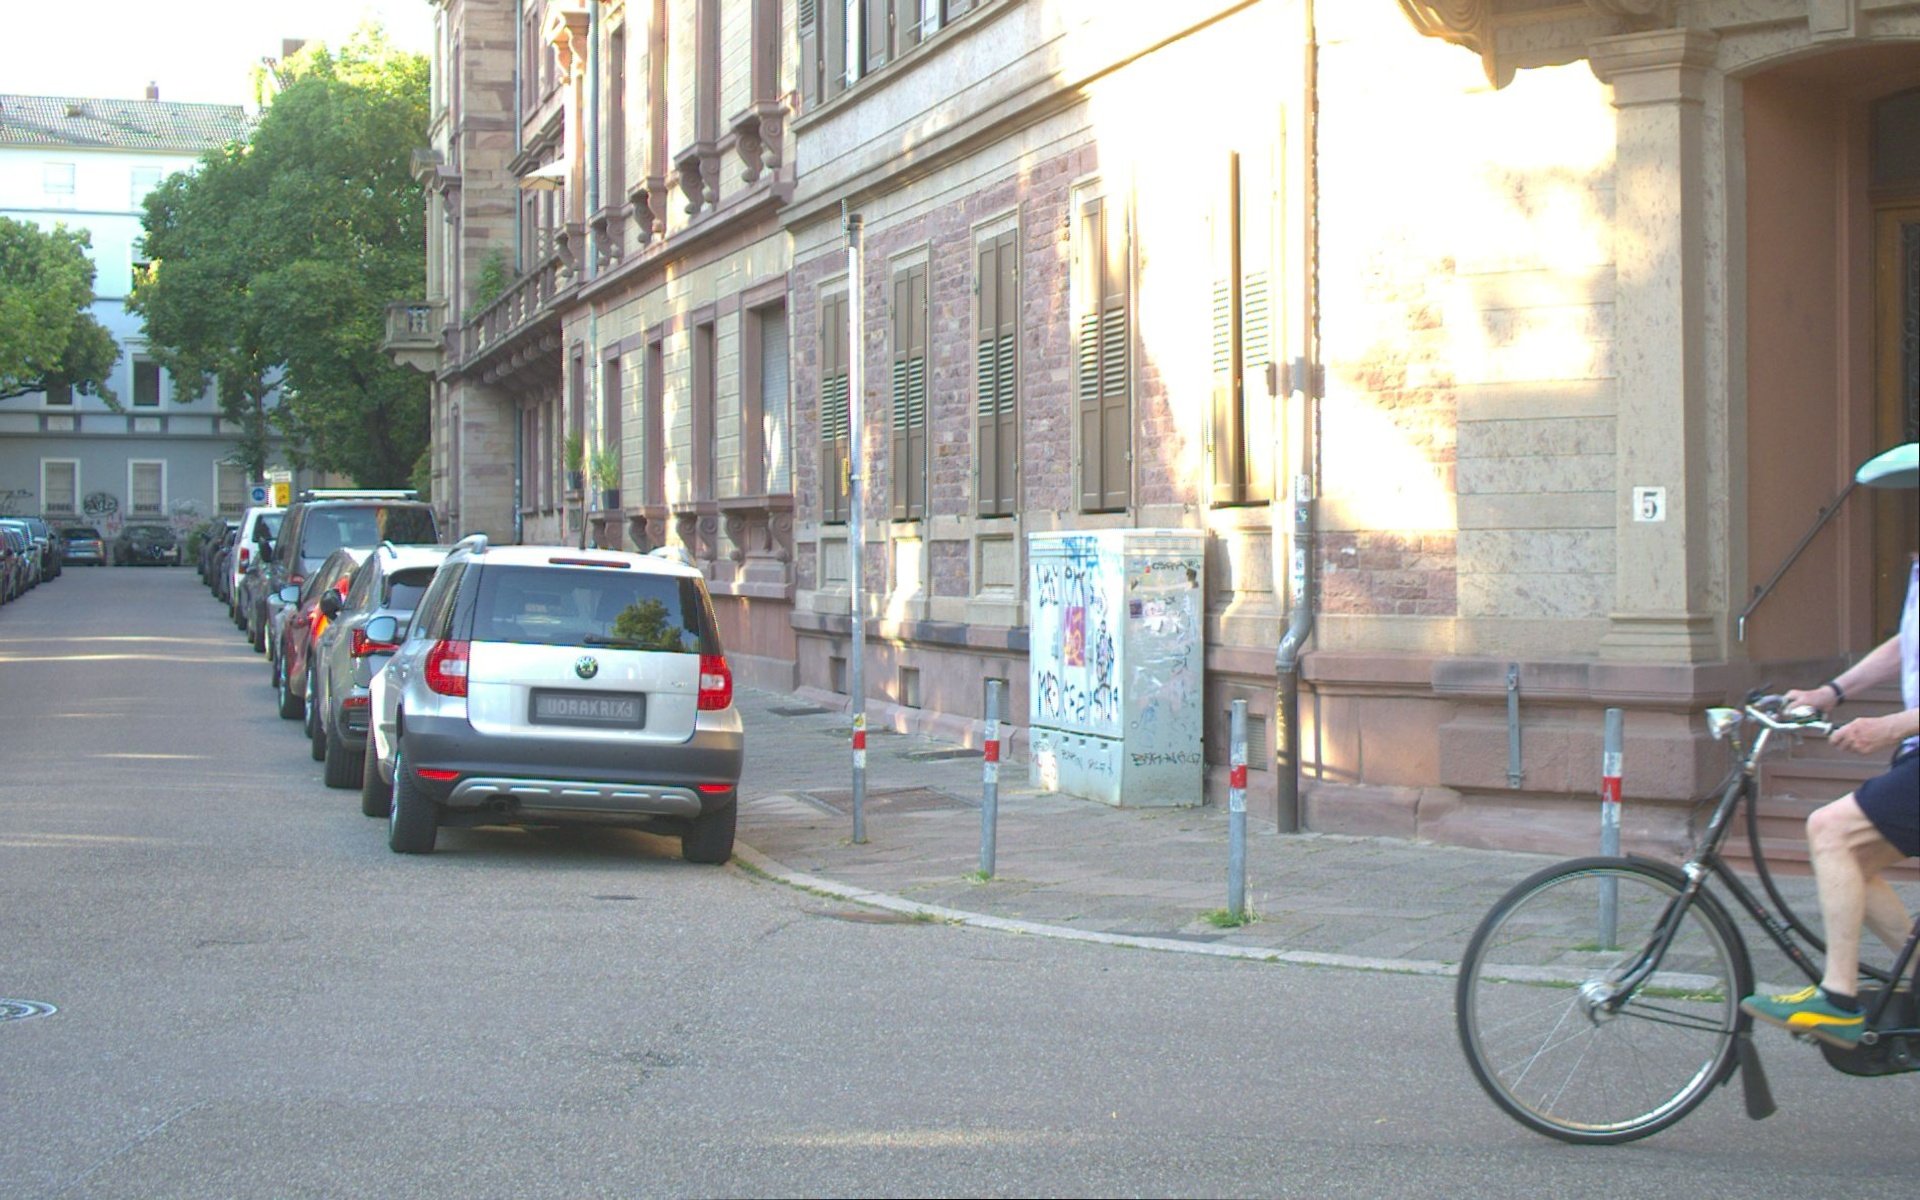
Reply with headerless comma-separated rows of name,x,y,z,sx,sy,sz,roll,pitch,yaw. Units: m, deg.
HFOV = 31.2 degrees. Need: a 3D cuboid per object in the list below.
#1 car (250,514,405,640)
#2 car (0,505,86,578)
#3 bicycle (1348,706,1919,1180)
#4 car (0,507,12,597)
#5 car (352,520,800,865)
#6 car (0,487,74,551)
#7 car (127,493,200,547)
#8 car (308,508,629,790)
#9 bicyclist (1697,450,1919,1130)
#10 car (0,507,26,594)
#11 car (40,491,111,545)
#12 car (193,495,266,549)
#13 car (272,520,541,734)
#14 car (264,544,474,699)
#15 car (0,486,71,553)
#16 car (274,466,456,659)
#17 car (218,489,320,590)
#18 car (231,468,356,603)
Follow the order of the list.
car,-8.480,-0.337,45.853,1.797,1.518,3.956,3,1,-13
car,-20.520,-1.321,76.592,1.825,1.495,3.932,3,1,-12
bicycle,2.036,0.817,8.398,2.117,1.050,0.700,0,1,10
car,-16.858,-0.847,57.201,1.825,1.495,3.932,3,1,-12
car,-2.273,0.433,19.293,1.915,1.651,4.188,3,0,-13
car,-23.584,-2.067,87.390,1.825,1.495,3.932,3,1,-12
car,-26.874,-2.668,115.904,1.993,1.678,4.001,1,-1,-18
car,-3.569,0.264,24.307,1.825,1.717,4.545,3,1,-12
bicyclist,2.253,0.435,8.353,0.872,1.583,0.700,0,1,10
car,-17.931,-0.952,61.997,1.825,1.495,3.932,3,1,-12
car,-29.594,-2.721,114.906,1.993,1.678,4.001,1,-1,-18
car,-24.870,-2.644,116.974,1.993,1.678,4.001,1,-1,-18
car,-4.806,0.178,29.434,1.797,1.608,3.956,3,1,-15
car,-5.961,0.174,34.340,1.797,1.340,3.956,3,1,-13
car,-22.365,-1.947,82.435,1.825,1.495,3.932,3,1,-12
car,-7.002,-0.465,40.171,1.797,2.065,3.956,3,1,-13
car,-13.613,-1.211,67.593,1.797,1.832,3.956,3,1,-13
car,-11.000,-1.076,56.550,1.797,2.065,3.956,3,1,-13
